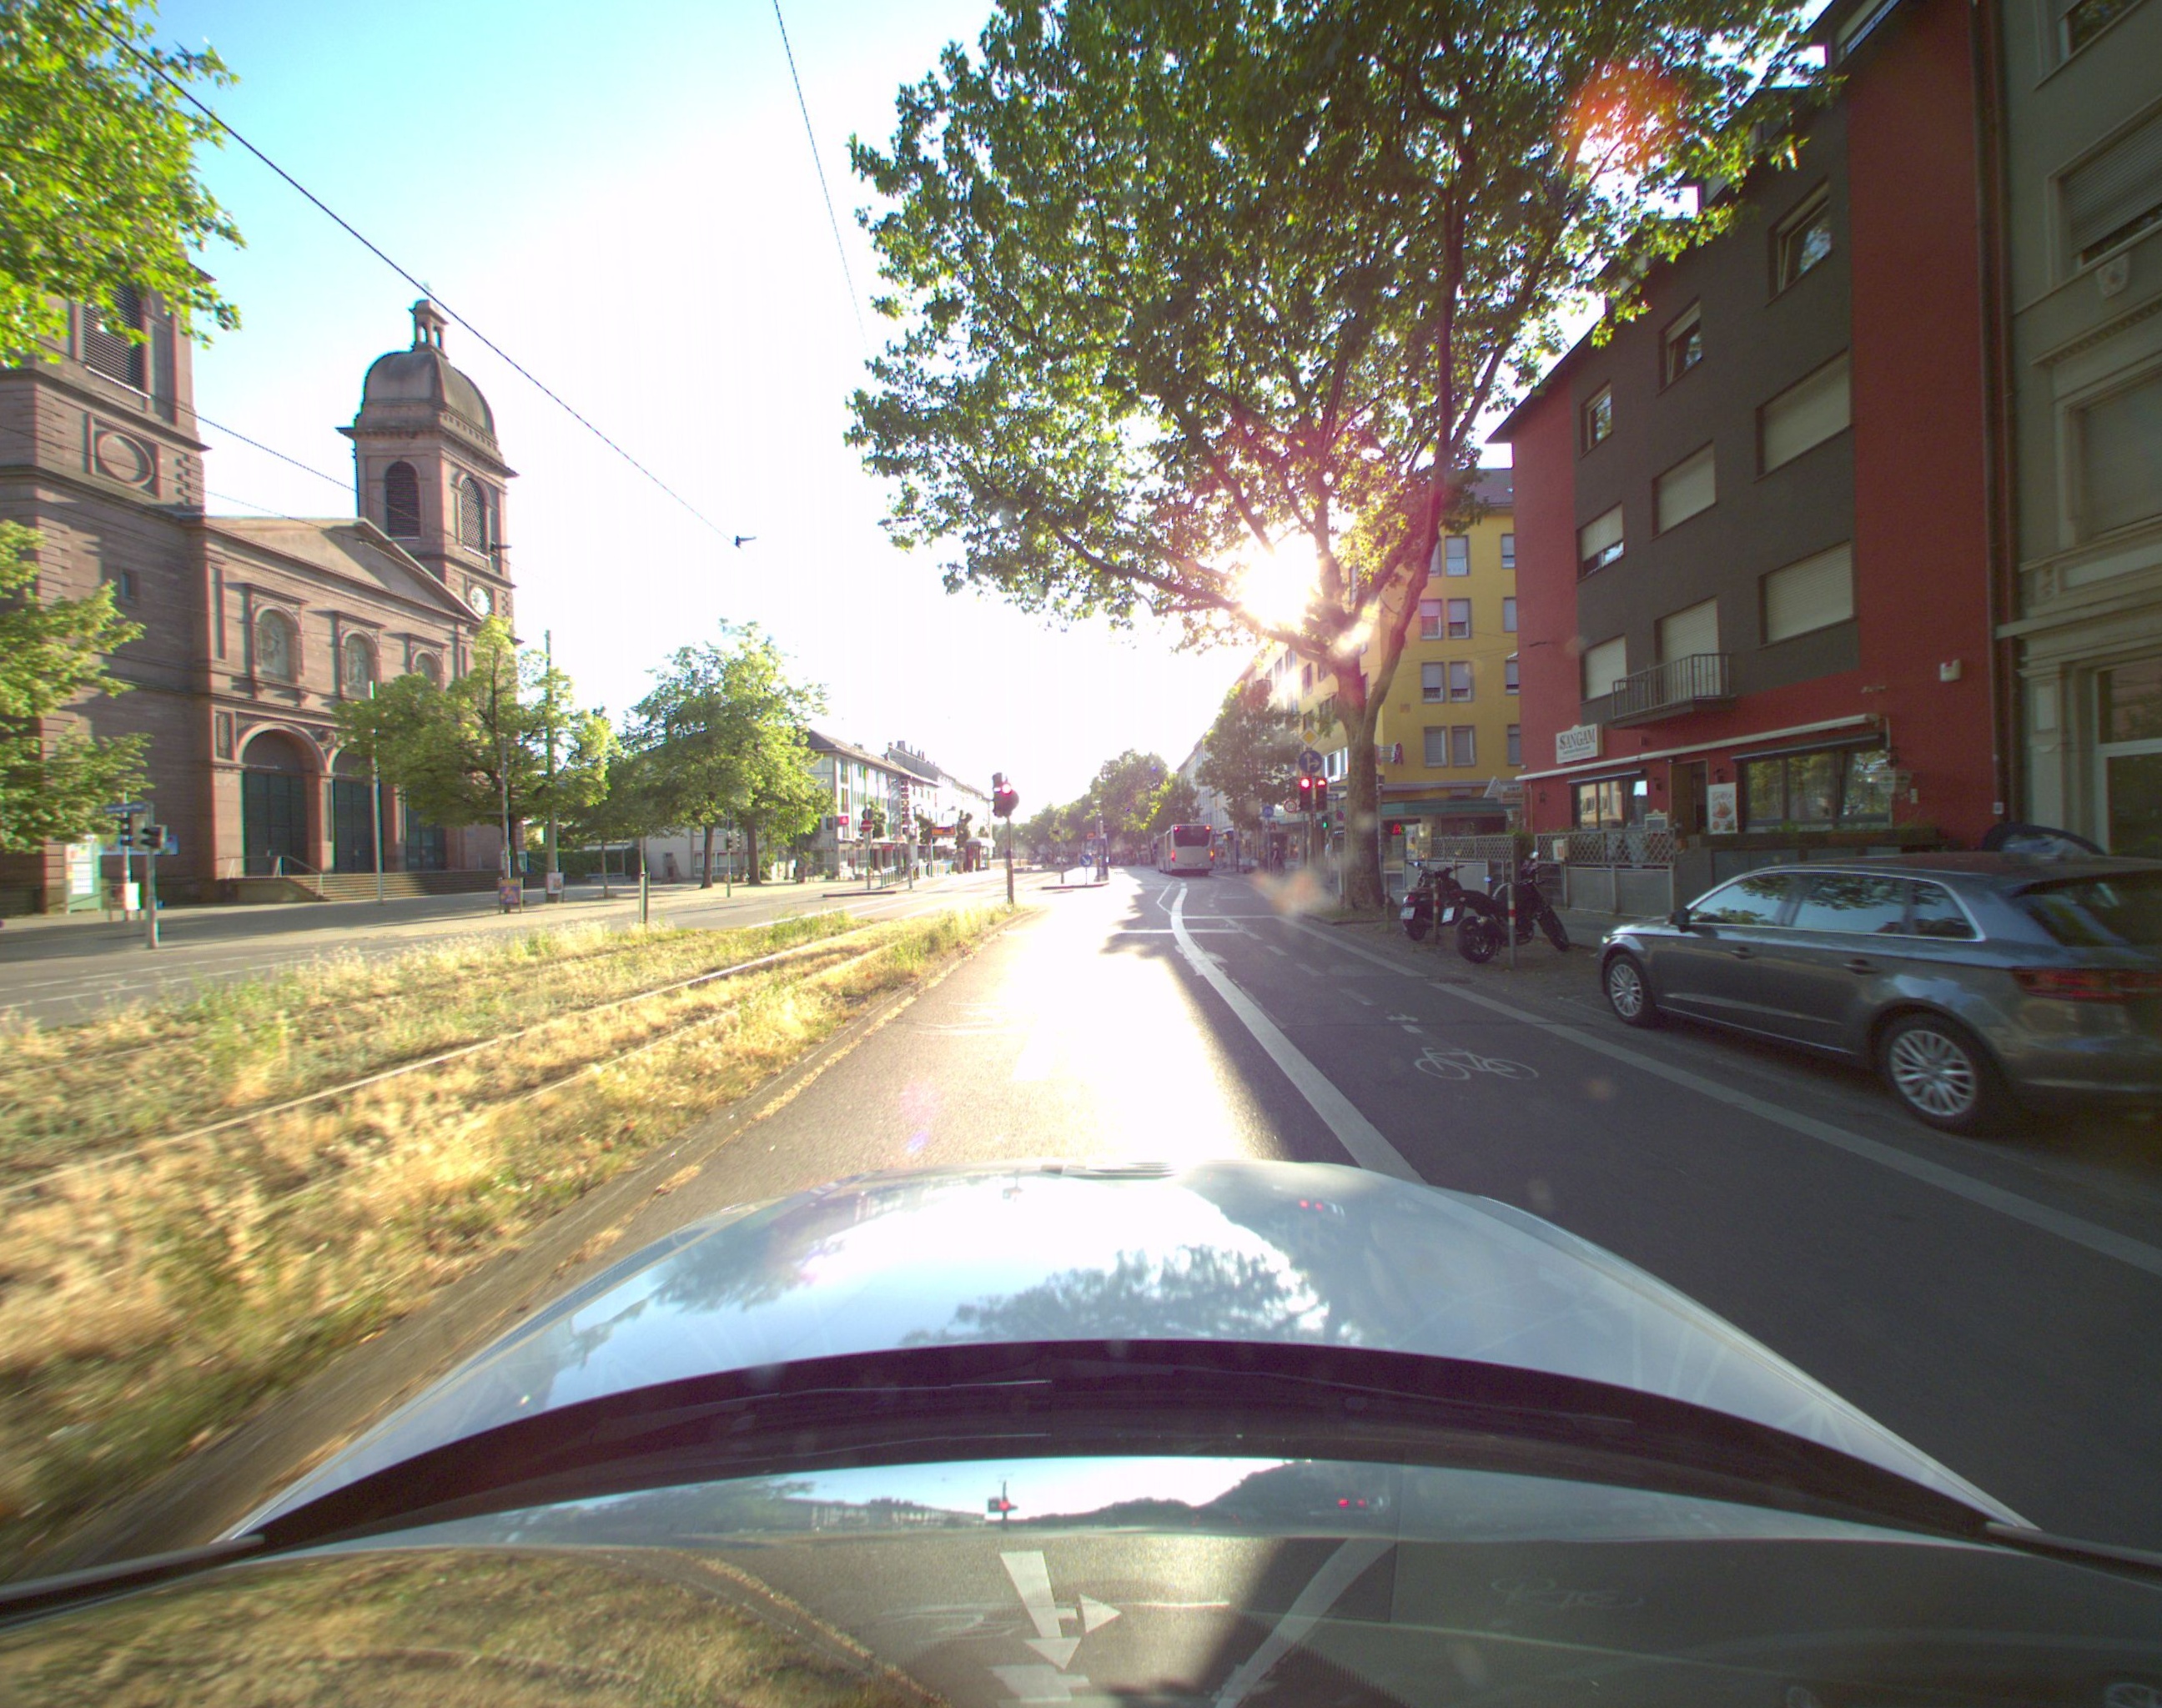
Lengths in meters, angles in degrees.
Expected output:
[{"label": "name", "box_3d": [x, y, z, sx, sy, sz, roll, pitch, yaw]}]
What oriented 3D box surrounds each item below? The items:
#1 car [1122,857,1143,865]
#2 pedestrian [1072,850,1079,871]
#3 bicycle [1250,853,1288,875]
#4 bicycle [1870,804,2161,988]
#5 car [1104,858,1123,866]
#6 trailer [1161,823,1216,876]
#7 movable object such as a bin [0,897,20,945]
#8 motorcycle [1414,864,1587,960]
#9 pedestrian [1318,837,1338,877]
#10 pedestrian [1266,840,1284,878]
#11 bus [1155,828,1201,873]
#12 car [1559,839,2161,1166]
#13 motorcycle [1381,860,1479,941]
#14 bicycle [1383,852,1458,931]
[{"label": "car", "box_3d": [10.809, 1.476, 169.968, 3.911, 1.699, 1.817, -2, 0, -26]}, {"label": "pedestrian", "box_3d": [-0.230, 0.280, 35.363, 0.290, 0.875, 0.344, 0, 0, -1]}, {"label": "bicycle", "box_3d": [9.787, 0.501, 42.431, 1.766, 1.021, 0.694, -3, 0, 1]}, {"label": "bicycle", "box_3d": [8.666, 0.326, 7.482, 0.604, 1.426, 2.398, 0, 0, 3]}, {"label": "car", "box_3d": [7.089, 1.699, 177.929, 3.911, 1.596, 1.677, -2, 0, -27]}, {"label": "trailer", "box_3d": [6.813, -0.271, 52.847, 2.801, 3.110, 8.800, 0, 0, 3]}, {"label": "movable object such as a bin", "box_3d": [-29.261, 1.849, 20.745, 1.103, 1.211, 2.448, 0, 4, 2]}, {"label": "motorcycle", "box_3d": [5.701, 0.742, 11.059, 2.214, 1.063, 0.762, -4, 1, -20]}, {"label": "pedestrian", "box_3d": [11.205, 0.135, 36.971, 0.677, 1.770, 0.687, -2, 0, 3]}, {"label": "pedestrian", "box_3d": [9.279, 0.217, 38.887, 0.677, 1.770, 0.687, -2, 0, 3]}, {"label": "bus", "box_3d": [7.224, -0.259, 61.784, 2.801, 3.101, 9.100, 0, 0, 3]}, {"label": "car", "box_3d": [5.400, 0.633, 5.717, 1.703, 1.396, 4.325, -2, 0, 3]}, {"label": "motorcycle", "box_3d": [5.692, 0.717, 13.237, 2.009, 1.152, 0.594, -2, 0, -40]}, {"label": "bicycle", "box_3d": [6.116, 0.633, 14.604, 0.687, 1.203, 1.859, 0, 4, 41]}]
